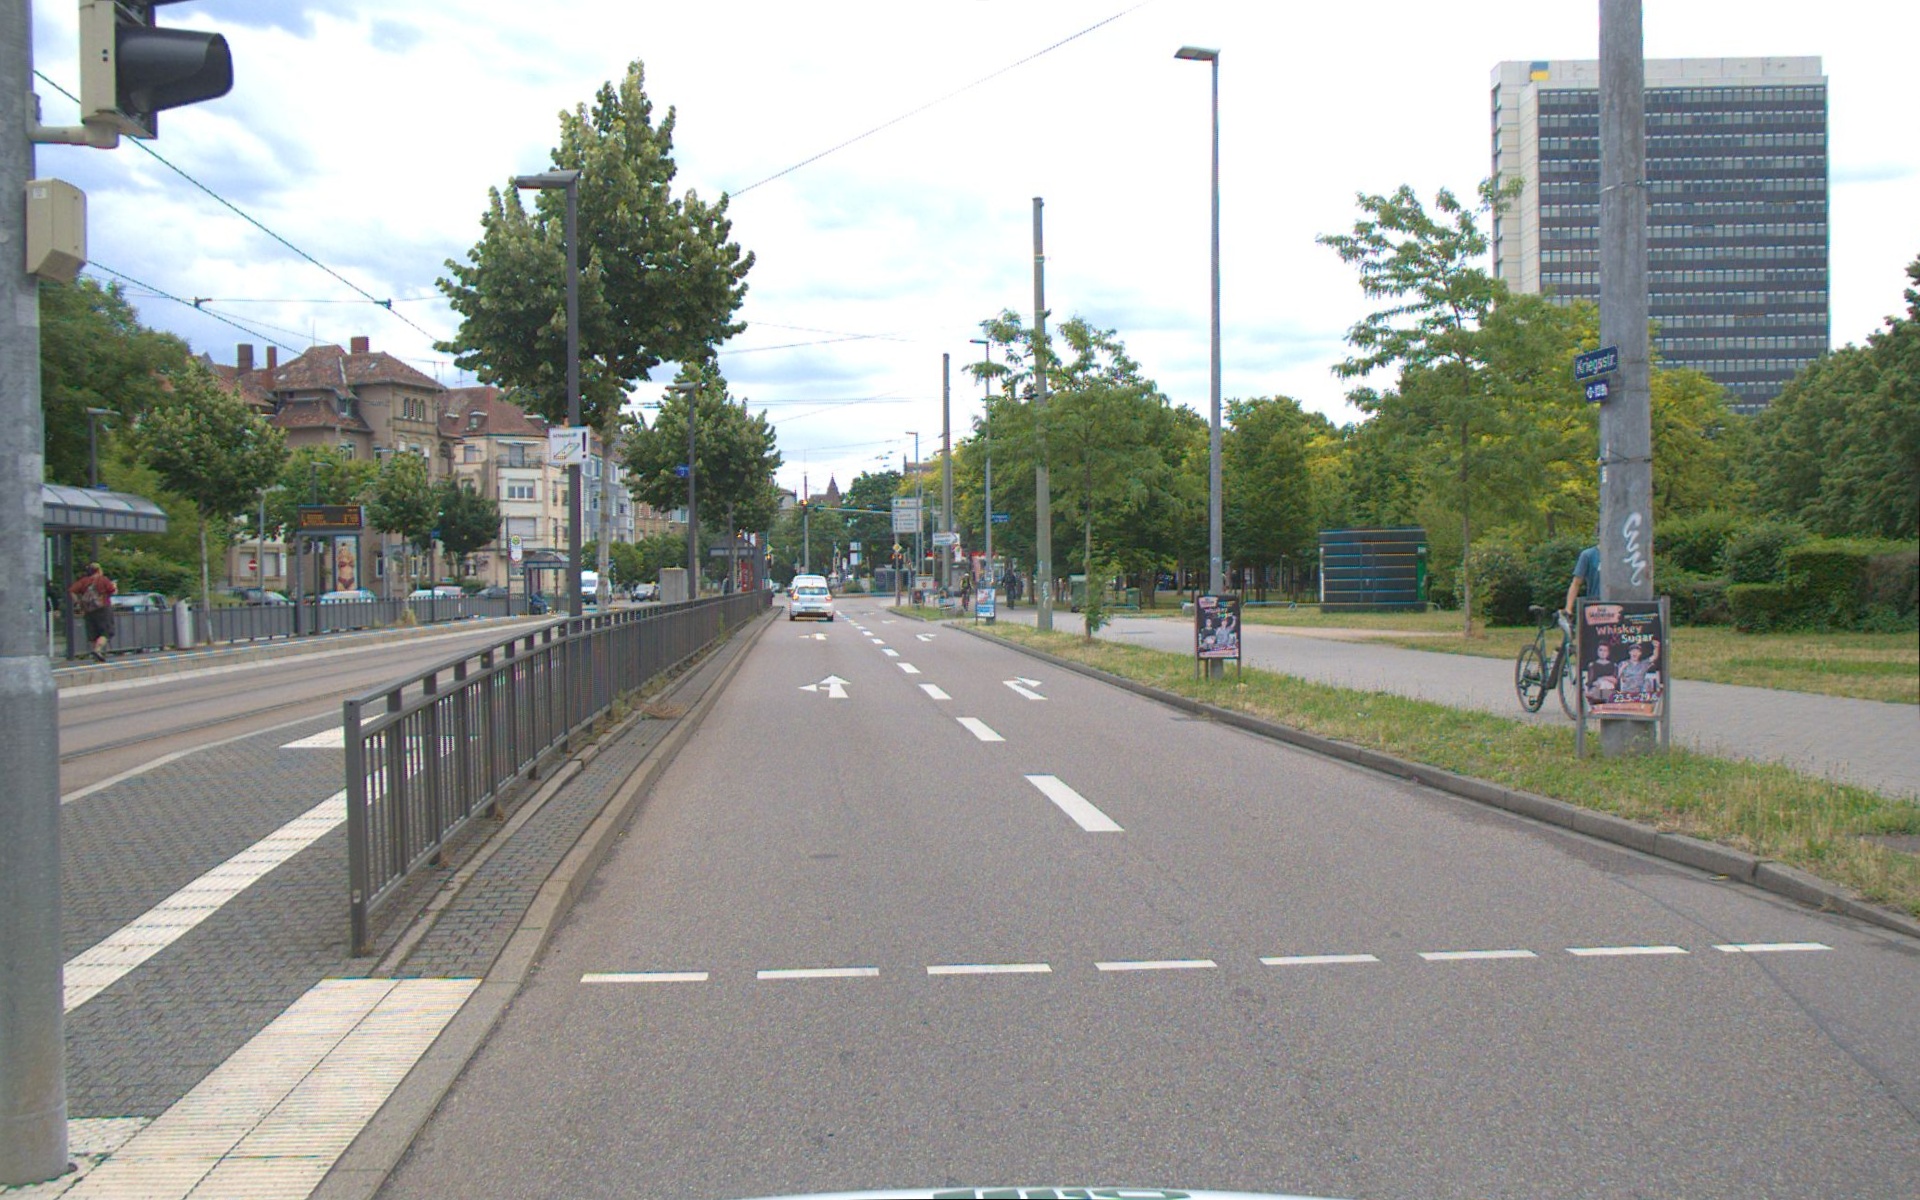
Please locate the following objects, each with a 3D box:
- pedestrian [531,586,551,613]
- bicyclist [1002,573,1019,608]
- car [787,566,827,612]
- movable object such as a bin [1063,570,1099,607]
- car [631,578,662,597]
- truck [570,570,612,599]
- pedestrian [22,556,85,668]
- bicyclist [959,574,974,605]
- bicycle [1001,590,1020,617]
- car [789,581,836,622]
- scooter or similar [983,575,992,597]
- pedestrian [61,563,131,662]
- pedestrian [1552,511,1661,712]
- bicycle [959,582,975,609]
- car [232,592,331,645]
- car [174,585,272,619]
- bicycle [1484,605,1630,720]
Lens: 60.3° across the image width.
[{"bbox_3d":[-20.342,-0.019,80.325,0.848,1.289,0.692,-2,1,-8],"label":"pedestrian"},{"bbox_3d":[2.293,-0.435,75.719,0.666,1.564,0.672,-1,1,-4],"label":"bicyclist"},{"bbox_3d":[-6.962,-0.530,75.020,1.748,1.997,4.377,-1,1,-6],"label":"car"},{"bbox_3d":[4.732,-0.465,64.810,1.257,1.414,1.158,-1,0,-5],"label":"movable object such as a bin"},{"bbox_3d":[-26.023,-1.030,137.354,1.734,1.519,3.887,-1,0,1],"label":"car"},{"bbox_3d":[-27.187,-1.133,122.078,1.751,2.068,5.396,-1,0,1],"label":"truck"},{"bbox_3d":[-14.538,0.182,26.544,0.688,1.745,0.696,-2,1,-14],"label":"pedestrian"},{"bbox_3d":[0.297,-0.494,76.774,0.665,1.403,0.728,-1,1,1],"label":"bicyclist"},{"bbox_3d":[2.307,0.139,75.742,0.666,1.175,1.897,-1,1,-4],"label":"bicycle"},{"bbox_3d":[-5.761,0.040,64.894,1.747,1.498,4.007,-1,1,-4],"label":"car"},{"bbox_3d":[1.500,-0.759,90.808,0.368,1.161,1.200,-1,1,5],"label":"scooter or similar"},{"bbox_3d":[-15.168,0.205,29.063,0.754,1.689,1.023,-2,1,-8],"label":"pedestrian"},{"bbox_3d":[6.288,0.104,16.109,0.725,1.902,0.681,-2,1,-6],"label":"pedestrian"},{"bbox_3d":[0.317,-0.218,76.769,0.665,1.175,1.898,-1,1,1],"label":"bicycle"},{"bbox_3d":[-20.825,0.538,50.894,1.736,1.519,3.882,-1,0,-5],"label":"car"},{"bbox_3d":[-34.479,0.085,77.445,3.799,1.519,1.774,-1,0,-6],"label":"car"},{"bbox_3d":[5.831,0.583,16.263,0.641,1.020,1.777,-1,1,-5],"label":"bicycle"}]
